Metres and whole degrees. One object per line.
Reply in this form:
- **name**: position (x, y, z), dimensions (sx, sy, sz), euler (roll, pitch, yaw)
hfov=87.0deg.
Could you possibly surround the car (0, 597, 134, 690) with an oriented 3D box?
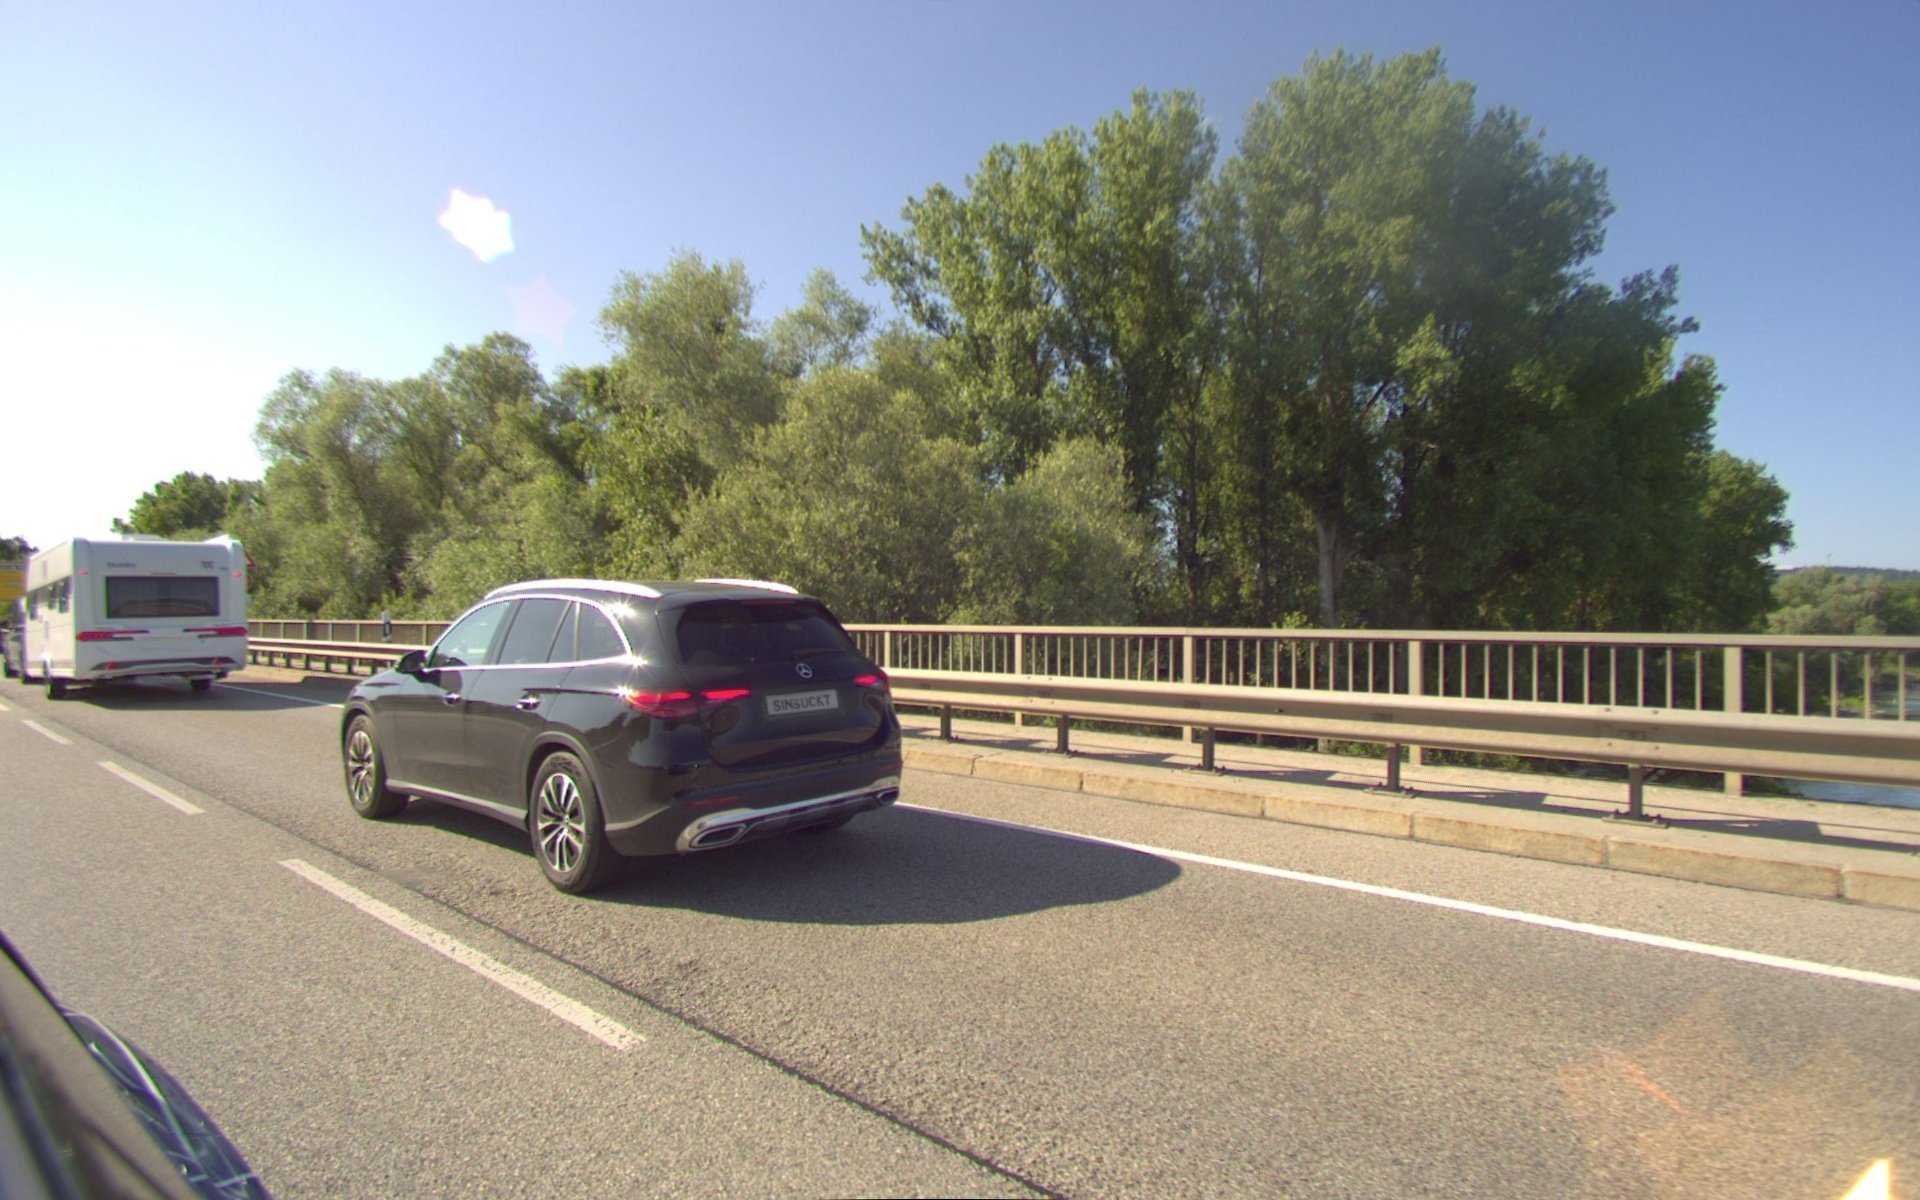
- **car**: position (-20.355, 0.900, 22.839), dimensions (5.007, 1.868, 1.962), euler (-1, -1, 42)

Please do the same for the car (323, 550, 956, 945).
- **car**: position (-2.277, 0.661, 6.432), dimensions (4.430, 1.673, 1.784), euler (-1, -1, 41)

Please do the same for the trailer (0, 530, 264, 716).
- **trailer**: position (-15.470, 0.376, 18.629), dimensions (8.059, 2.758, 2.528), euler (-1, 0, 42)

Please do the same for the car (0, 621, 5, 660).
- **car**: position (-37.603, 1.504, 38.184), dimensions (4.647, 1.431, 1.768), euler (-1, -1, 40)
